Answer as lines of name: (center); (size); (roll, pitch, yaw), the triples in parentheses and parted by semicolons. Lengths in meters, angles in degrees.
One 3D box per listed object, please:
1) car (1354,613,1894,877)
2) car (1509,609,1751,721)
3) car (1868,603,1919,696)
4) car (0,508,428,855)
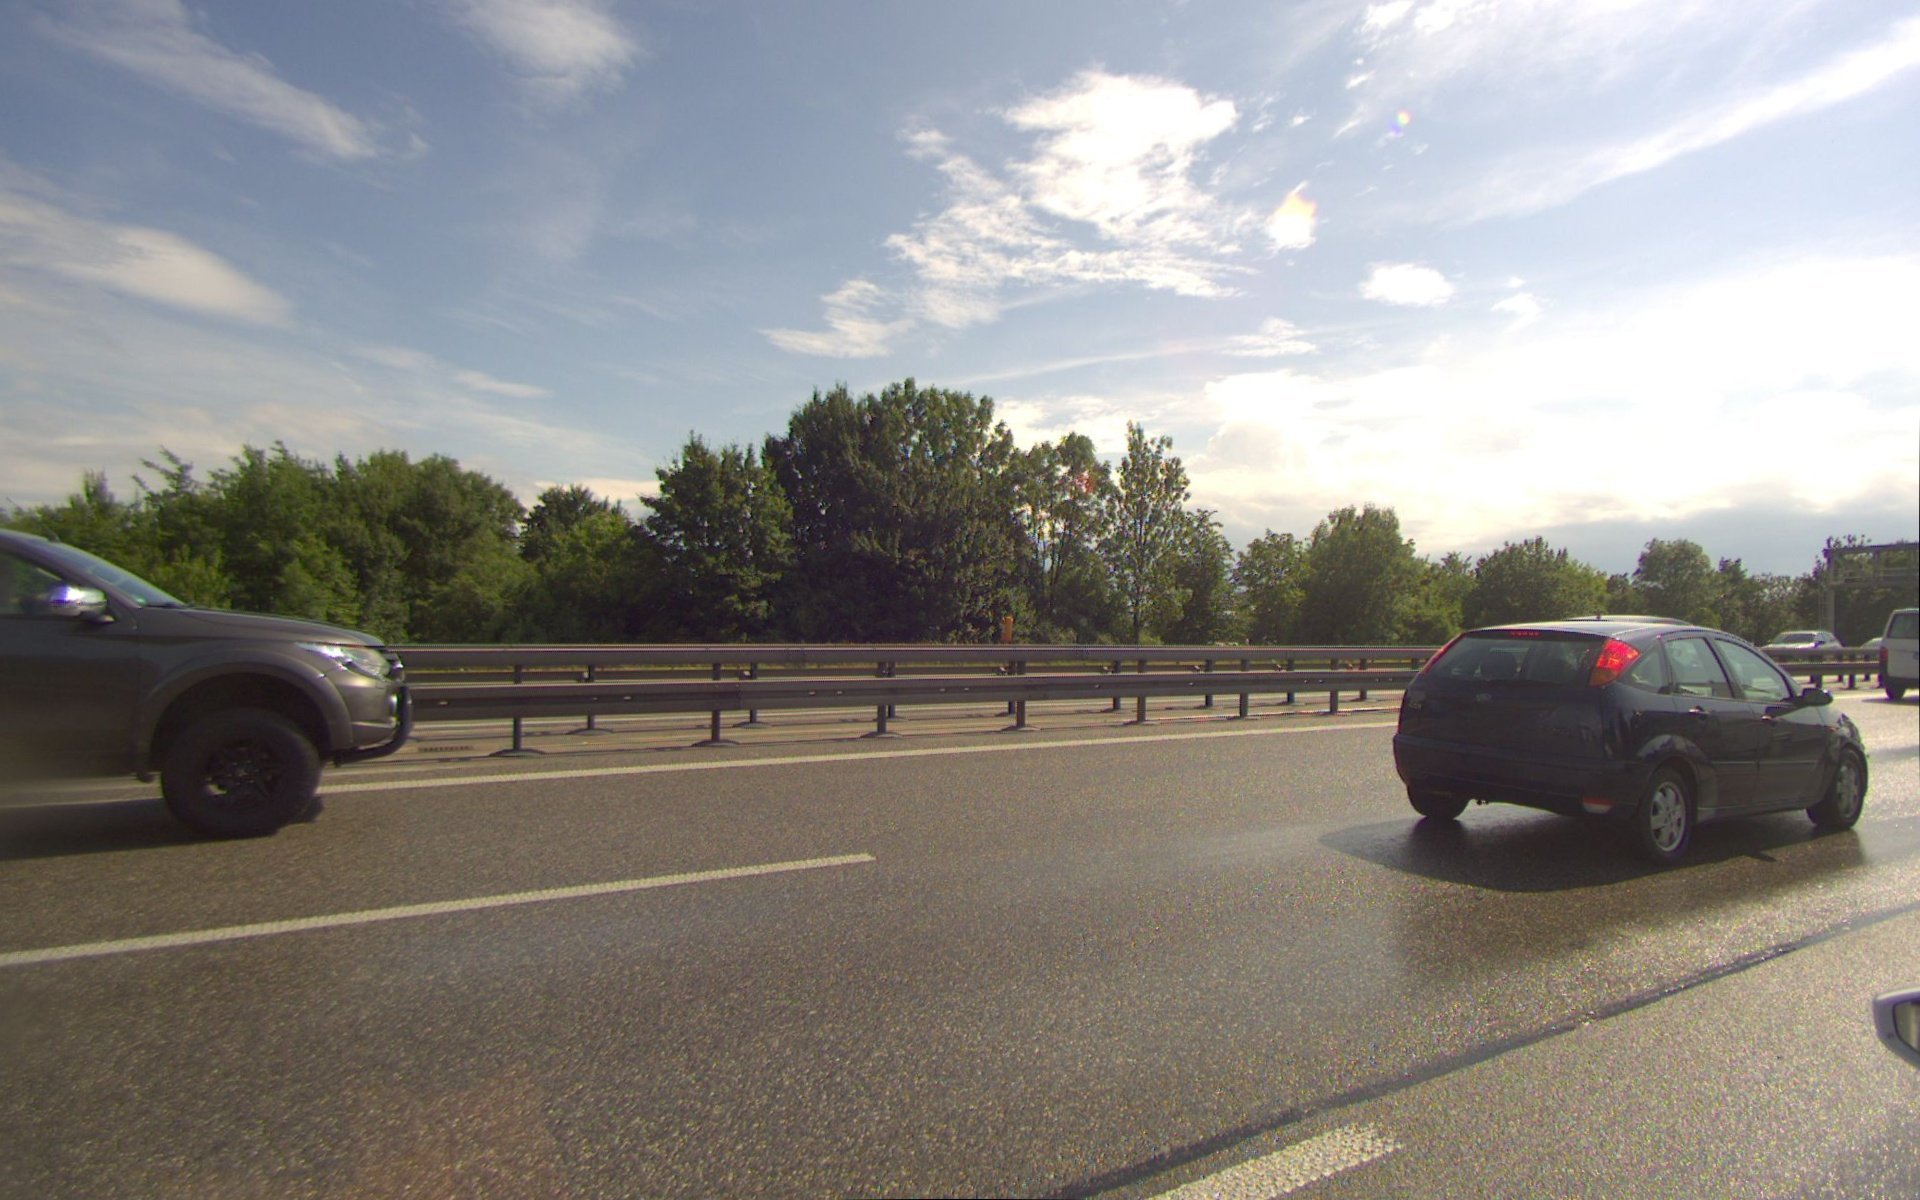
car: (4.973, 0.873, 7.431); (3.952, 1.462, 1.750); (1, 0, -30)
car: (10.861, 0.990, 16.245); (3.871, 1.599, 1.774); (1, 0, -31)
car: (22.363, 1.094, 22.356); (4.959, 1.959, 1.838); (1, 0, -31)
car: (-6.174, 0.424, 5.874); (5.353, 1.868, 1.798); (1, 0, -30)
